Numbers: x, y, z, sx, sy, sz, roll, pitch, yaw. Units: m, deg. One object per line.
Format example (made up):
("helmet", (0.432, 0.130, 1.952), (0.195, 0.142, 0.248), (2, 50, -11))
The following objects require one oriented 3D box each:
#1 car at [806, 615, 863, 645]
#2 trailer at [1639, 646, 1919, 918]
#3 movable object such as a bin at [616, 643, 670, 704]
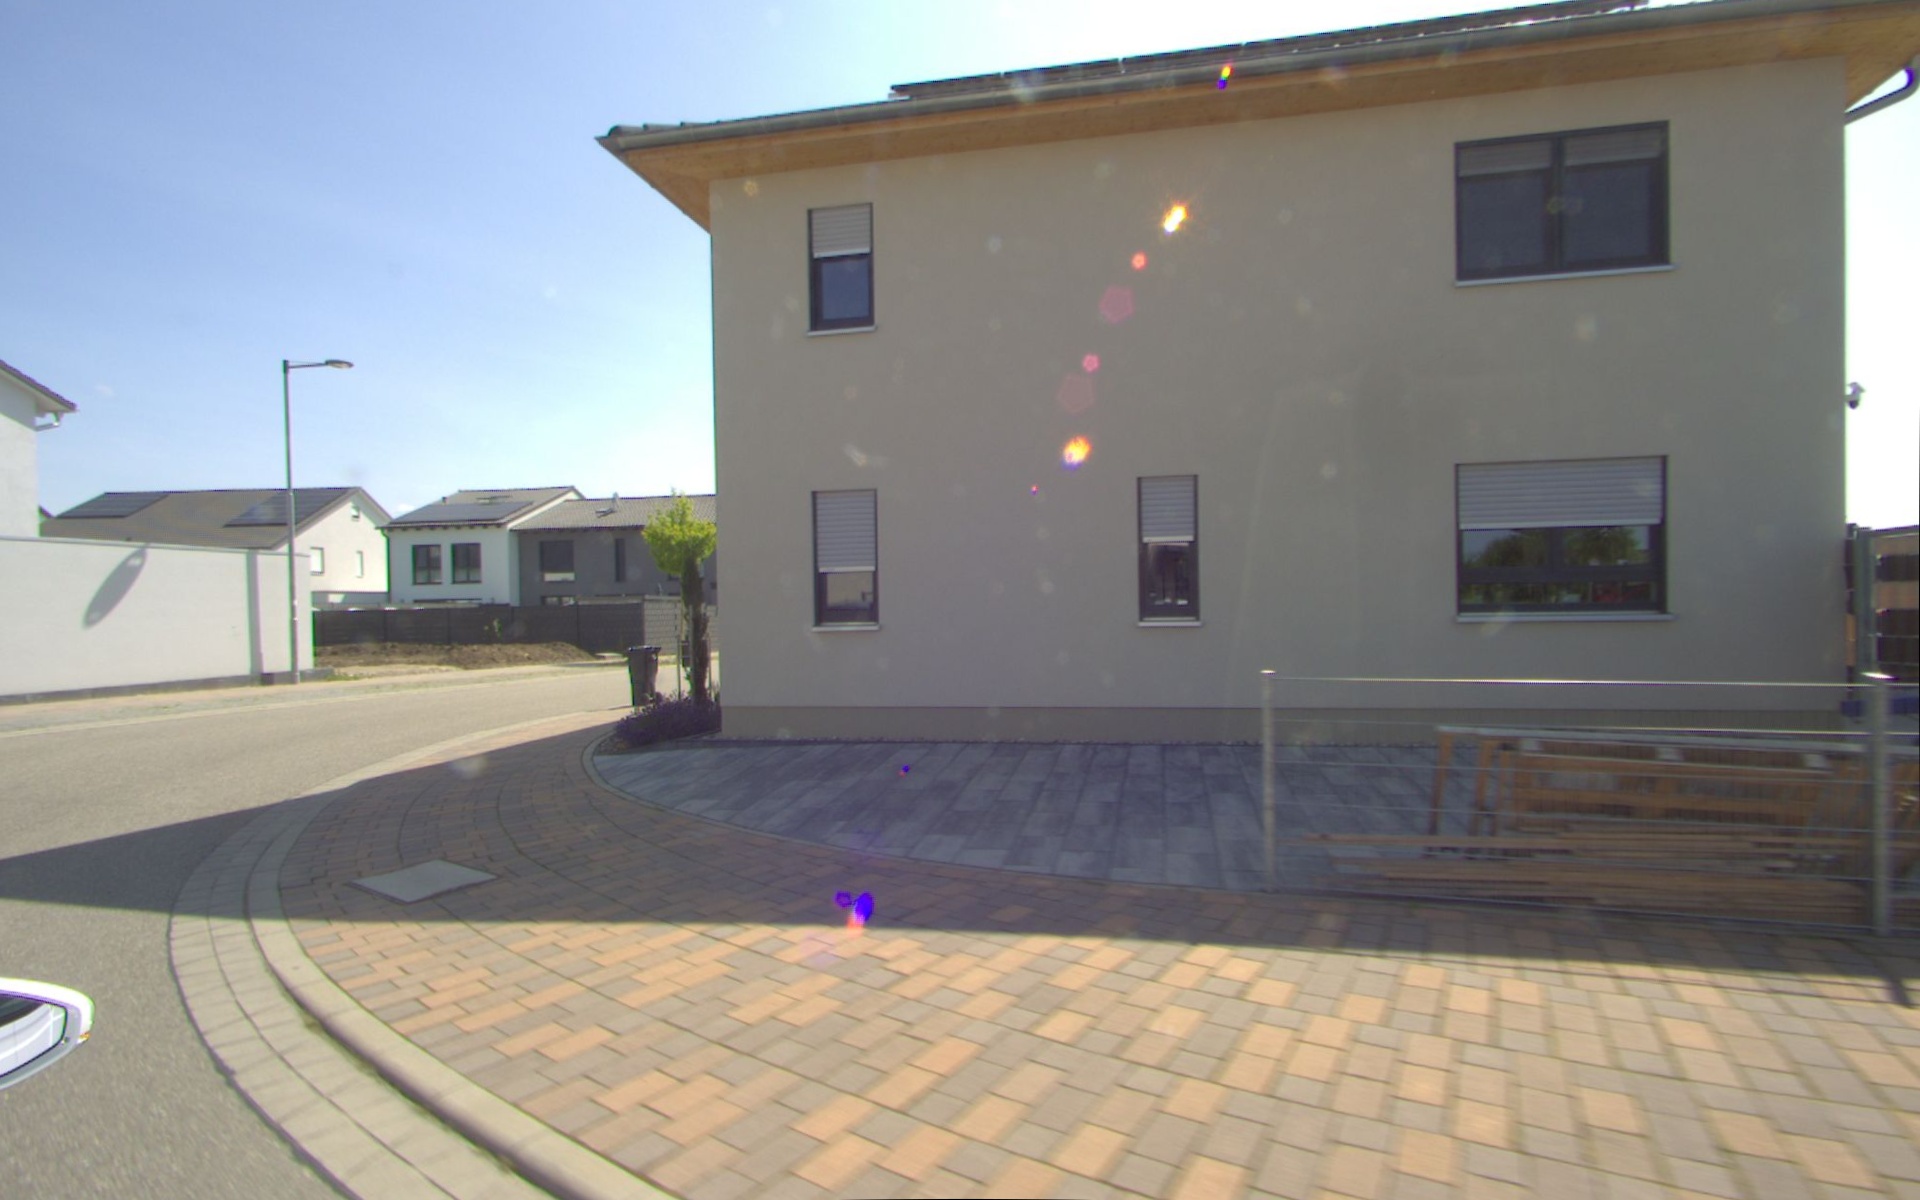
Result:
("car", (-5.803, 1.370, 46.665), (1.565, 1.315, 3.766), (1, 0, 10))
("trailer", (4.671, 0.822, 5.248), (1.135, 0.973, 2.240), (-1, 2, 14))
("movable object such as a bin", (-5.137, 1.184, 16.244), (0.541, 0.943, 0.647), (-1, 0, 19))
